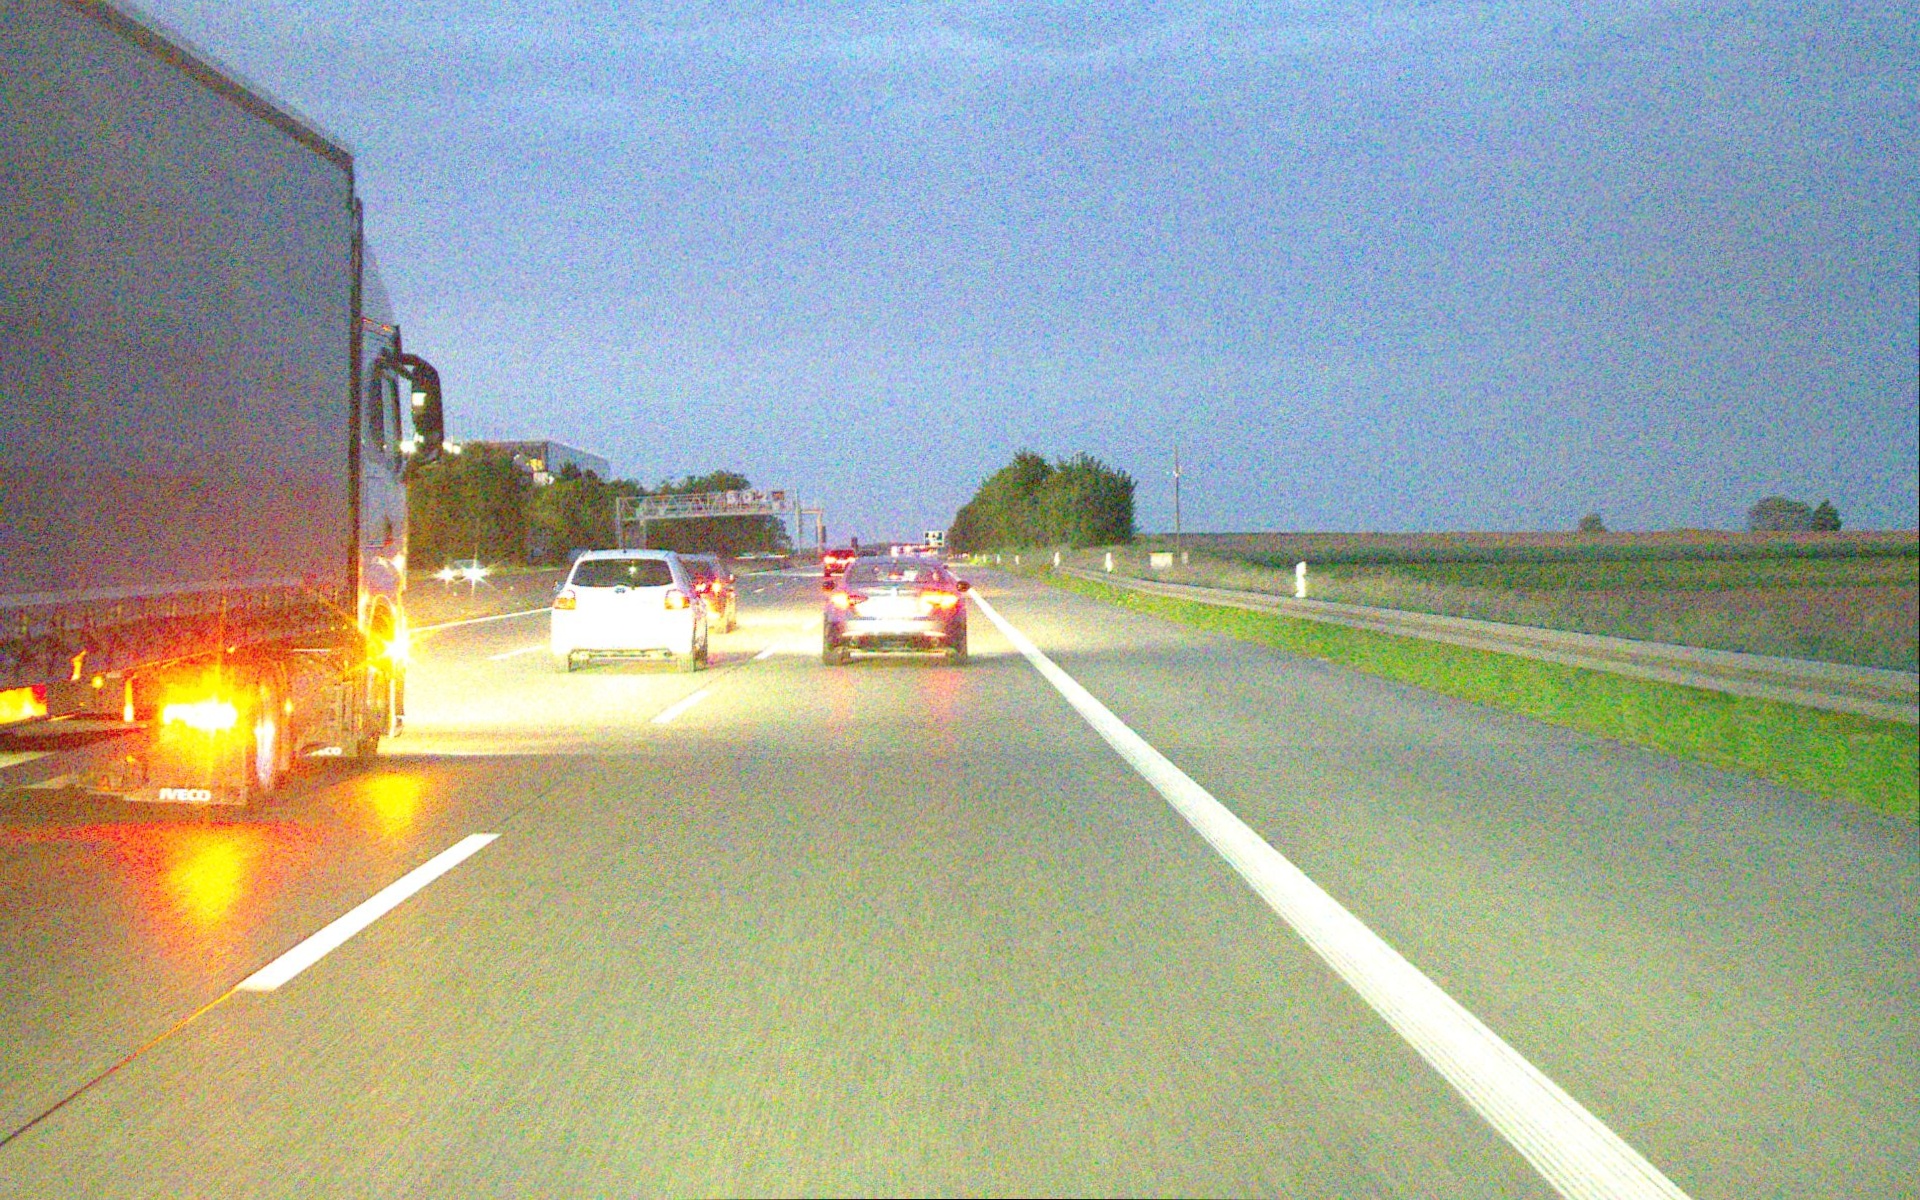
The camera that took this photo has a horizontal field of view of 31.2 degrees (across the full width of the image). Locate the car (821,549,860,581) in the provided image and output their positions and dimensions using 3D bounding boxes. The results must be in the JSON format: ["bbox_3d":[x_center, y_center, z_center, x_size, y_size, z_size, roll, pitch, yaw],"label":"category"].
[{"bbox_3d":[-5.927,-1.727,170.527,1.880,1.547,4.000,1,0,-1],"label":"car"}]

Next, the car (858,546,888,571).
[{"bbox_3d":[-6.574,-3.132,259.199,2.199,1.873,4.000,1,0,-1],"label":"car"}]

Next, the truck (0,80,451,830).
[{"bbox_3d":[-5.102,-0.810,21.832,2.777,4.079,6.103,0,0,0],"label":"truck"}]

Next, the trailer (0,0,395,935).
[{"bbox_3d":[-5.127,-0.737,15.081,2.794,4.071,14.526,0,0,0],"label":"trailer"}]

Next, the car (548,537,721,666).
[{"bbox_3d":[-4.032,0.001,43.188,1.744,1.519,4.414,1,0,0],"label":"car"}]

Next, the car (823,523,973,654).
[{"bbox_3d":[-0.810,-0.163,45.583,1.880,1.637,4.000,1,0,-1],"label":"car"}]

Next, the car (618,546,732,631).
[{"bbox_3d":[-5.138,-0.224,62.420,1.722,1.466,4.726,1,0,-1],"label":"car"}]

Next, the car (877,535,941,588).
[{"bbox_3d":[-1.550,-1.158,103.919,1.880,1.547,4.000,1,0,-1],"label":"car"}]
